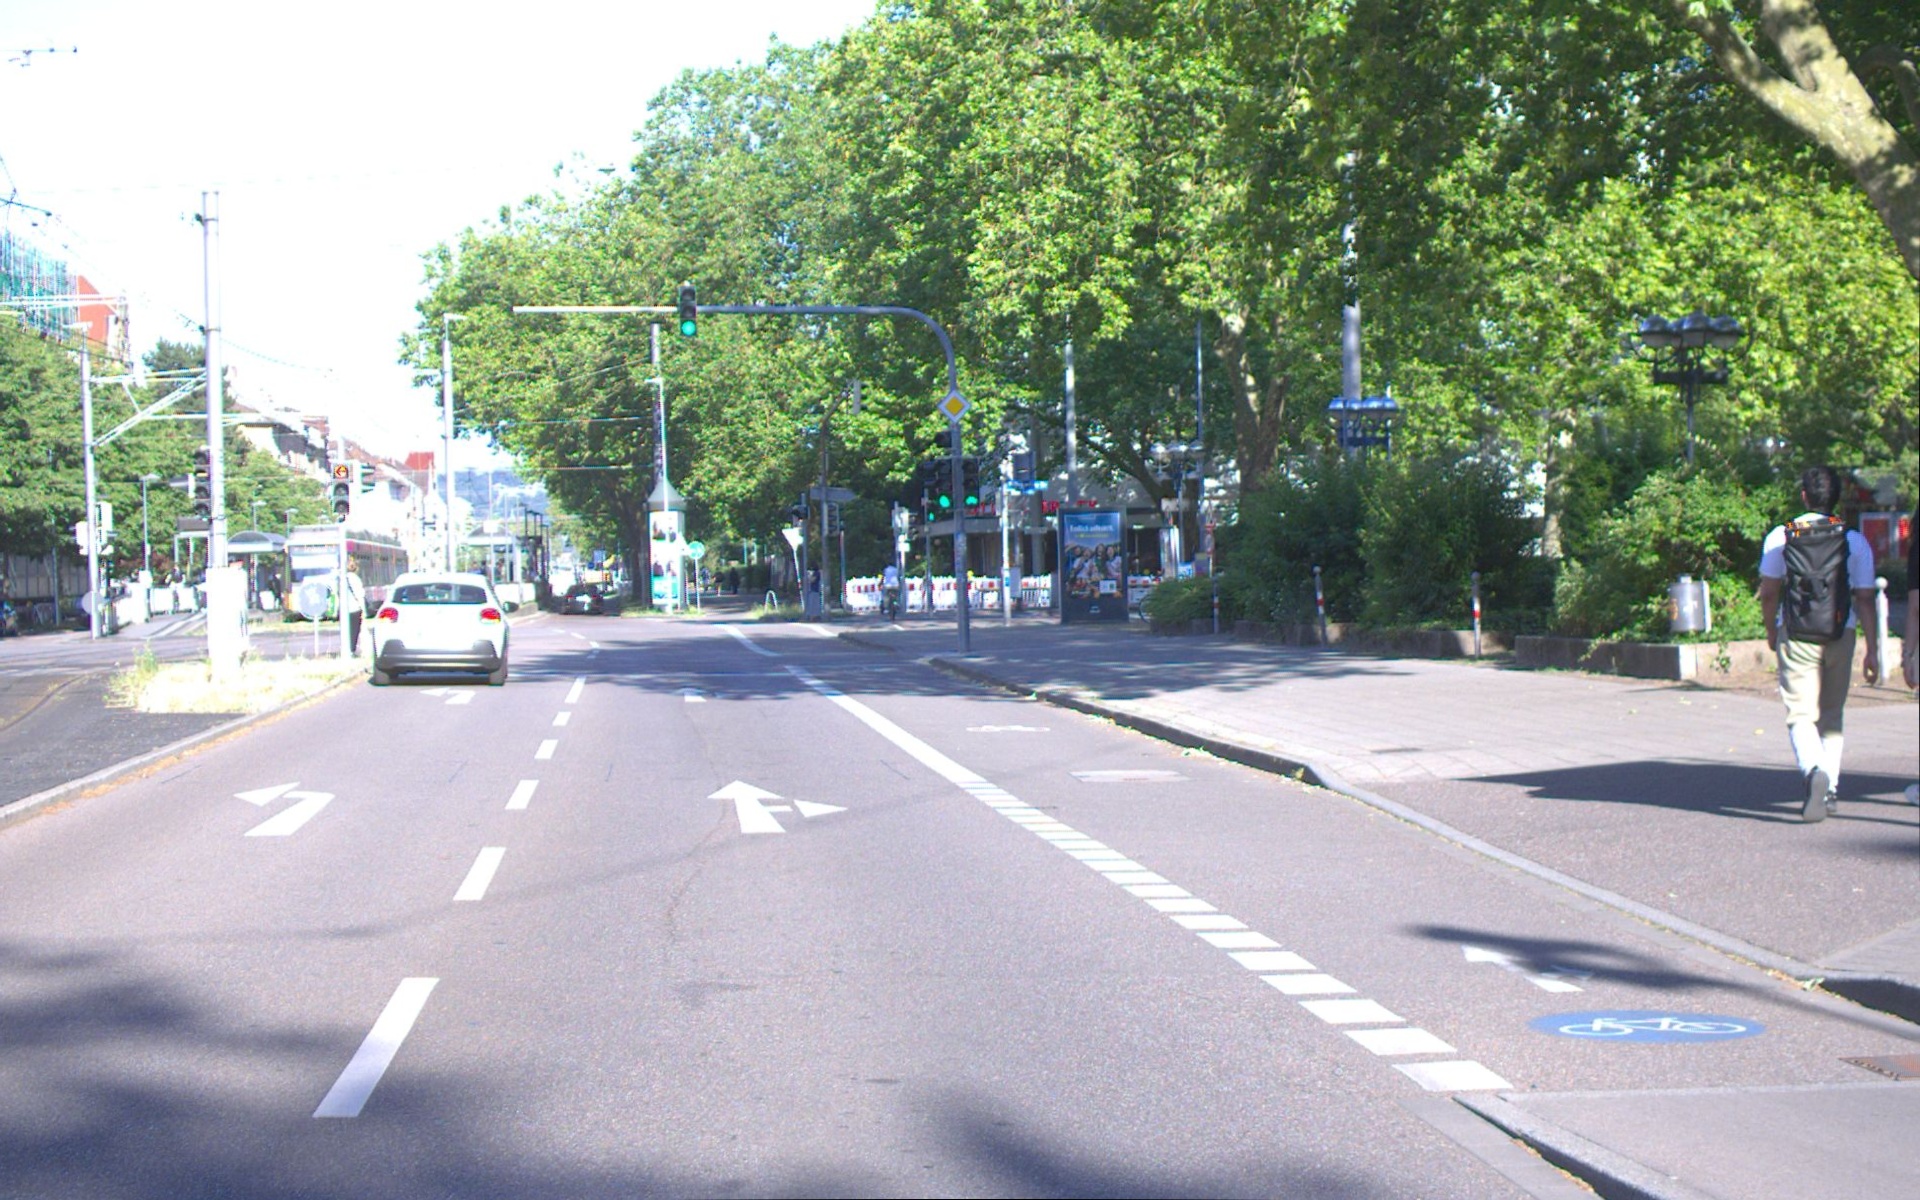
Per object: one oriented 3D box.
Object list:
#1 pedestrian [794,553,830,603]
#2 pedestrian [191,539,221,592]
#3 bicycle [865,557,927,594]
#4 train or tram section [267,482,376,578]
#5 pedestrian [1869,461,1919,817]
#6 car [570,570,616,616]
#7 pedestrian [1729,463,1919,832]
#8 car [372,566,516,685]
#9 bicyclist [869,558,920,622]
[{"bbox_3d":[-4.109,-0.615,95.242,0.660,1.383,0.831,1,1,27],"label":"pedestrian"},{"bbox_3d":[-26.149,-1.190,119.265,0.962,1.827,0.990,1,1,-12],"label":"pedestrian"},{"bbox_3d":[-1.726,-0.664,91.678,1.198,0.931,2.575,1,1,-12],"label":"bicycle"},{"bbox_3d":[-23.721,-2.578,128.169,2.952,3.398,10.793,1,1,-5],"label":"train or tram section"},{"bbox_3d":[5.014,0.173,17.178,0.603,1.770,0.690,-5,1,-2],"label":"pedestrian"},{"bbox_3d":[-16.742,-0.332,156.915,1.993,2.007,4.001,1,1,-5],"label":"car"},{"bbox_3d":[4.369,0.227,17.375,0.603,1.770,0.879,-5,1,-2],"label":"pedestrian"},{"bbox_3d":[-6.807,0.310,45.621,1.745,1.457,3.645,1,1,-6],"label":"car"},{"bbox_3d":[-1.750,-0.276,91.720,1.198,1.691,0.904,1,1,-11],"label":"bicyclist"}]
